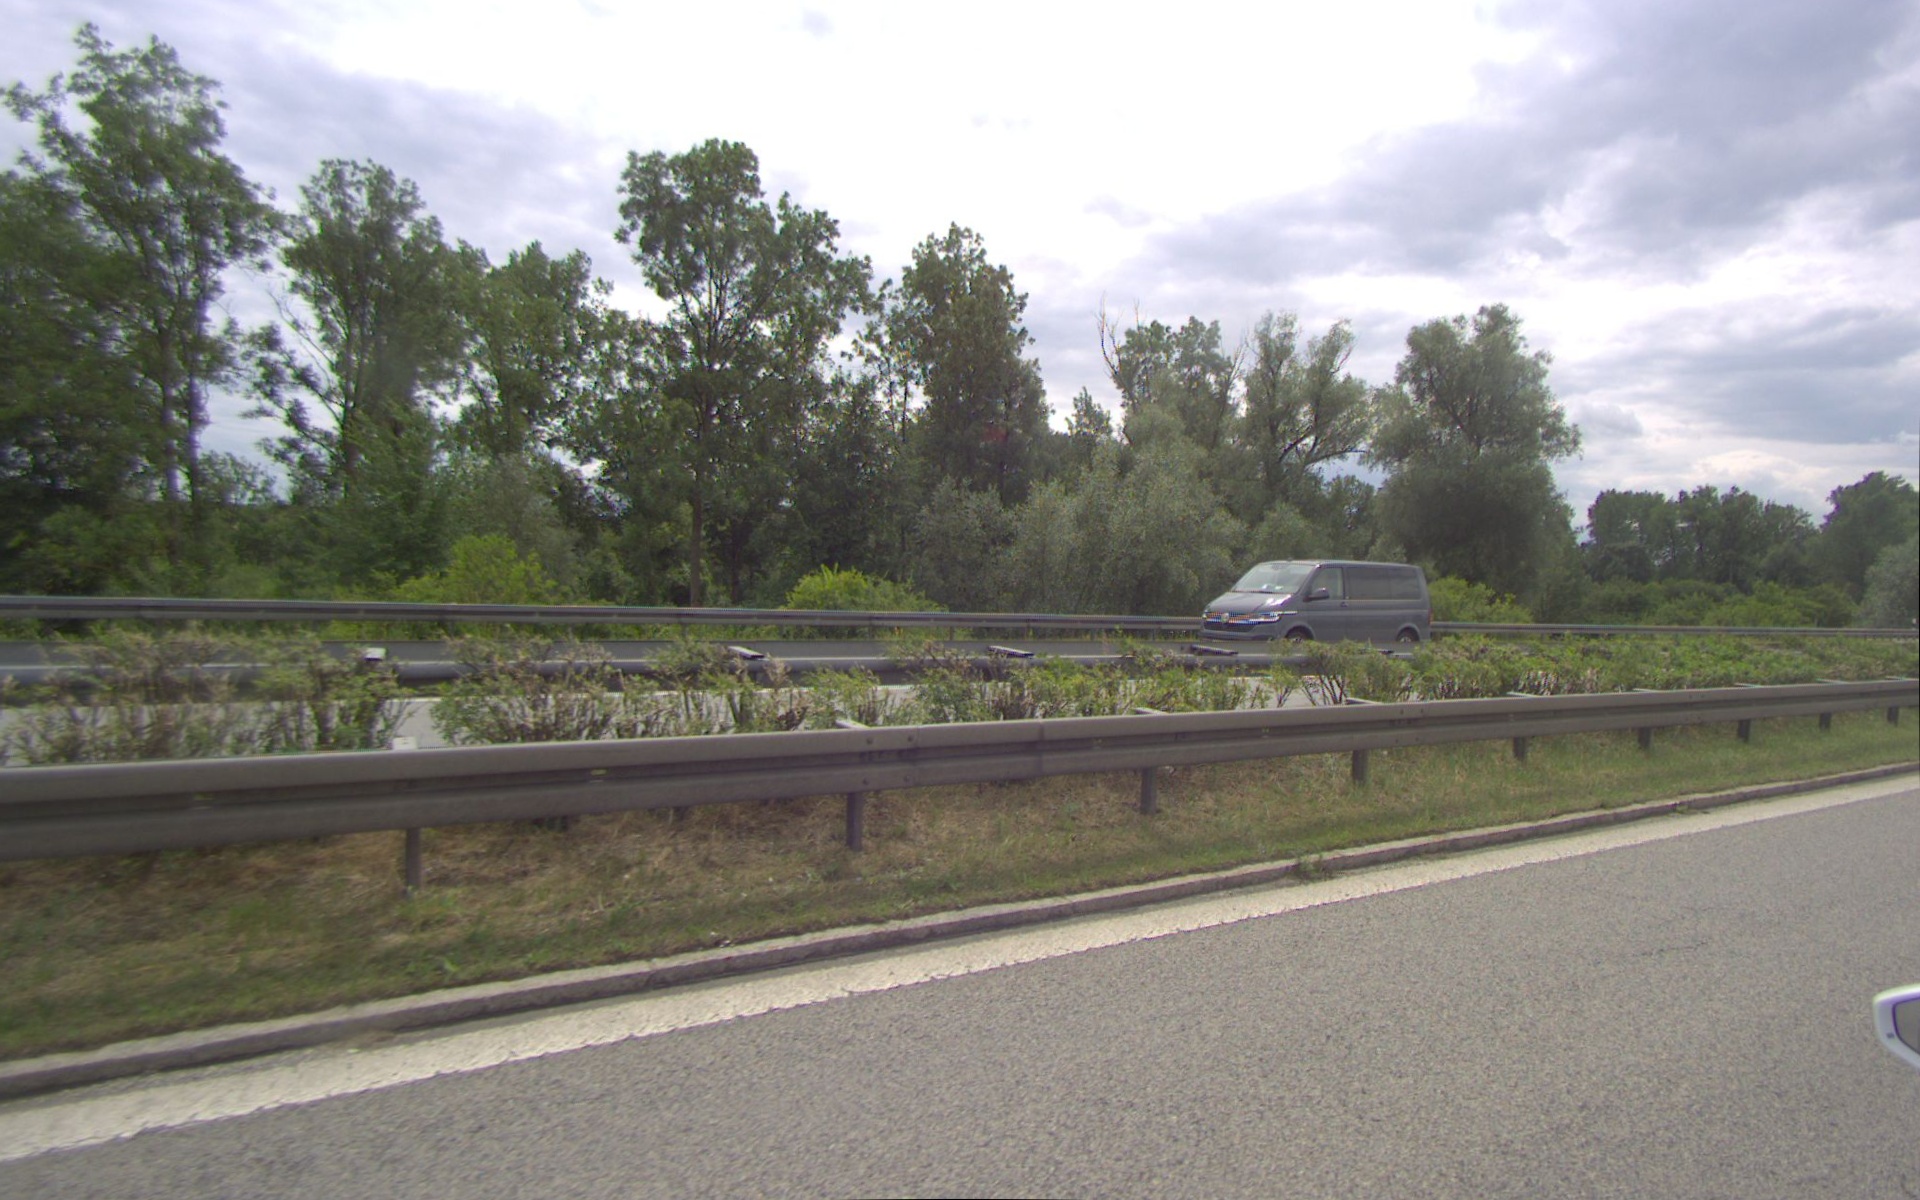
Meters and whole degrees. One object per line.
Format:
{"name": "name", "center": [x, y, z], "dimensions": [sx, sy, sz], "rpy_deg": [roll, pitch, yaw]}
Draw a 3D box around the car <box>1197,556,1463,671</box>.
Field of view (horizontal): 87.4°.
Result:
{"name": "car", "center": [6.926, 0.251, 18.609], "dimensions": [5.166, 1.909, 1.692], "rpy_deg": [1, 2, -30]}
